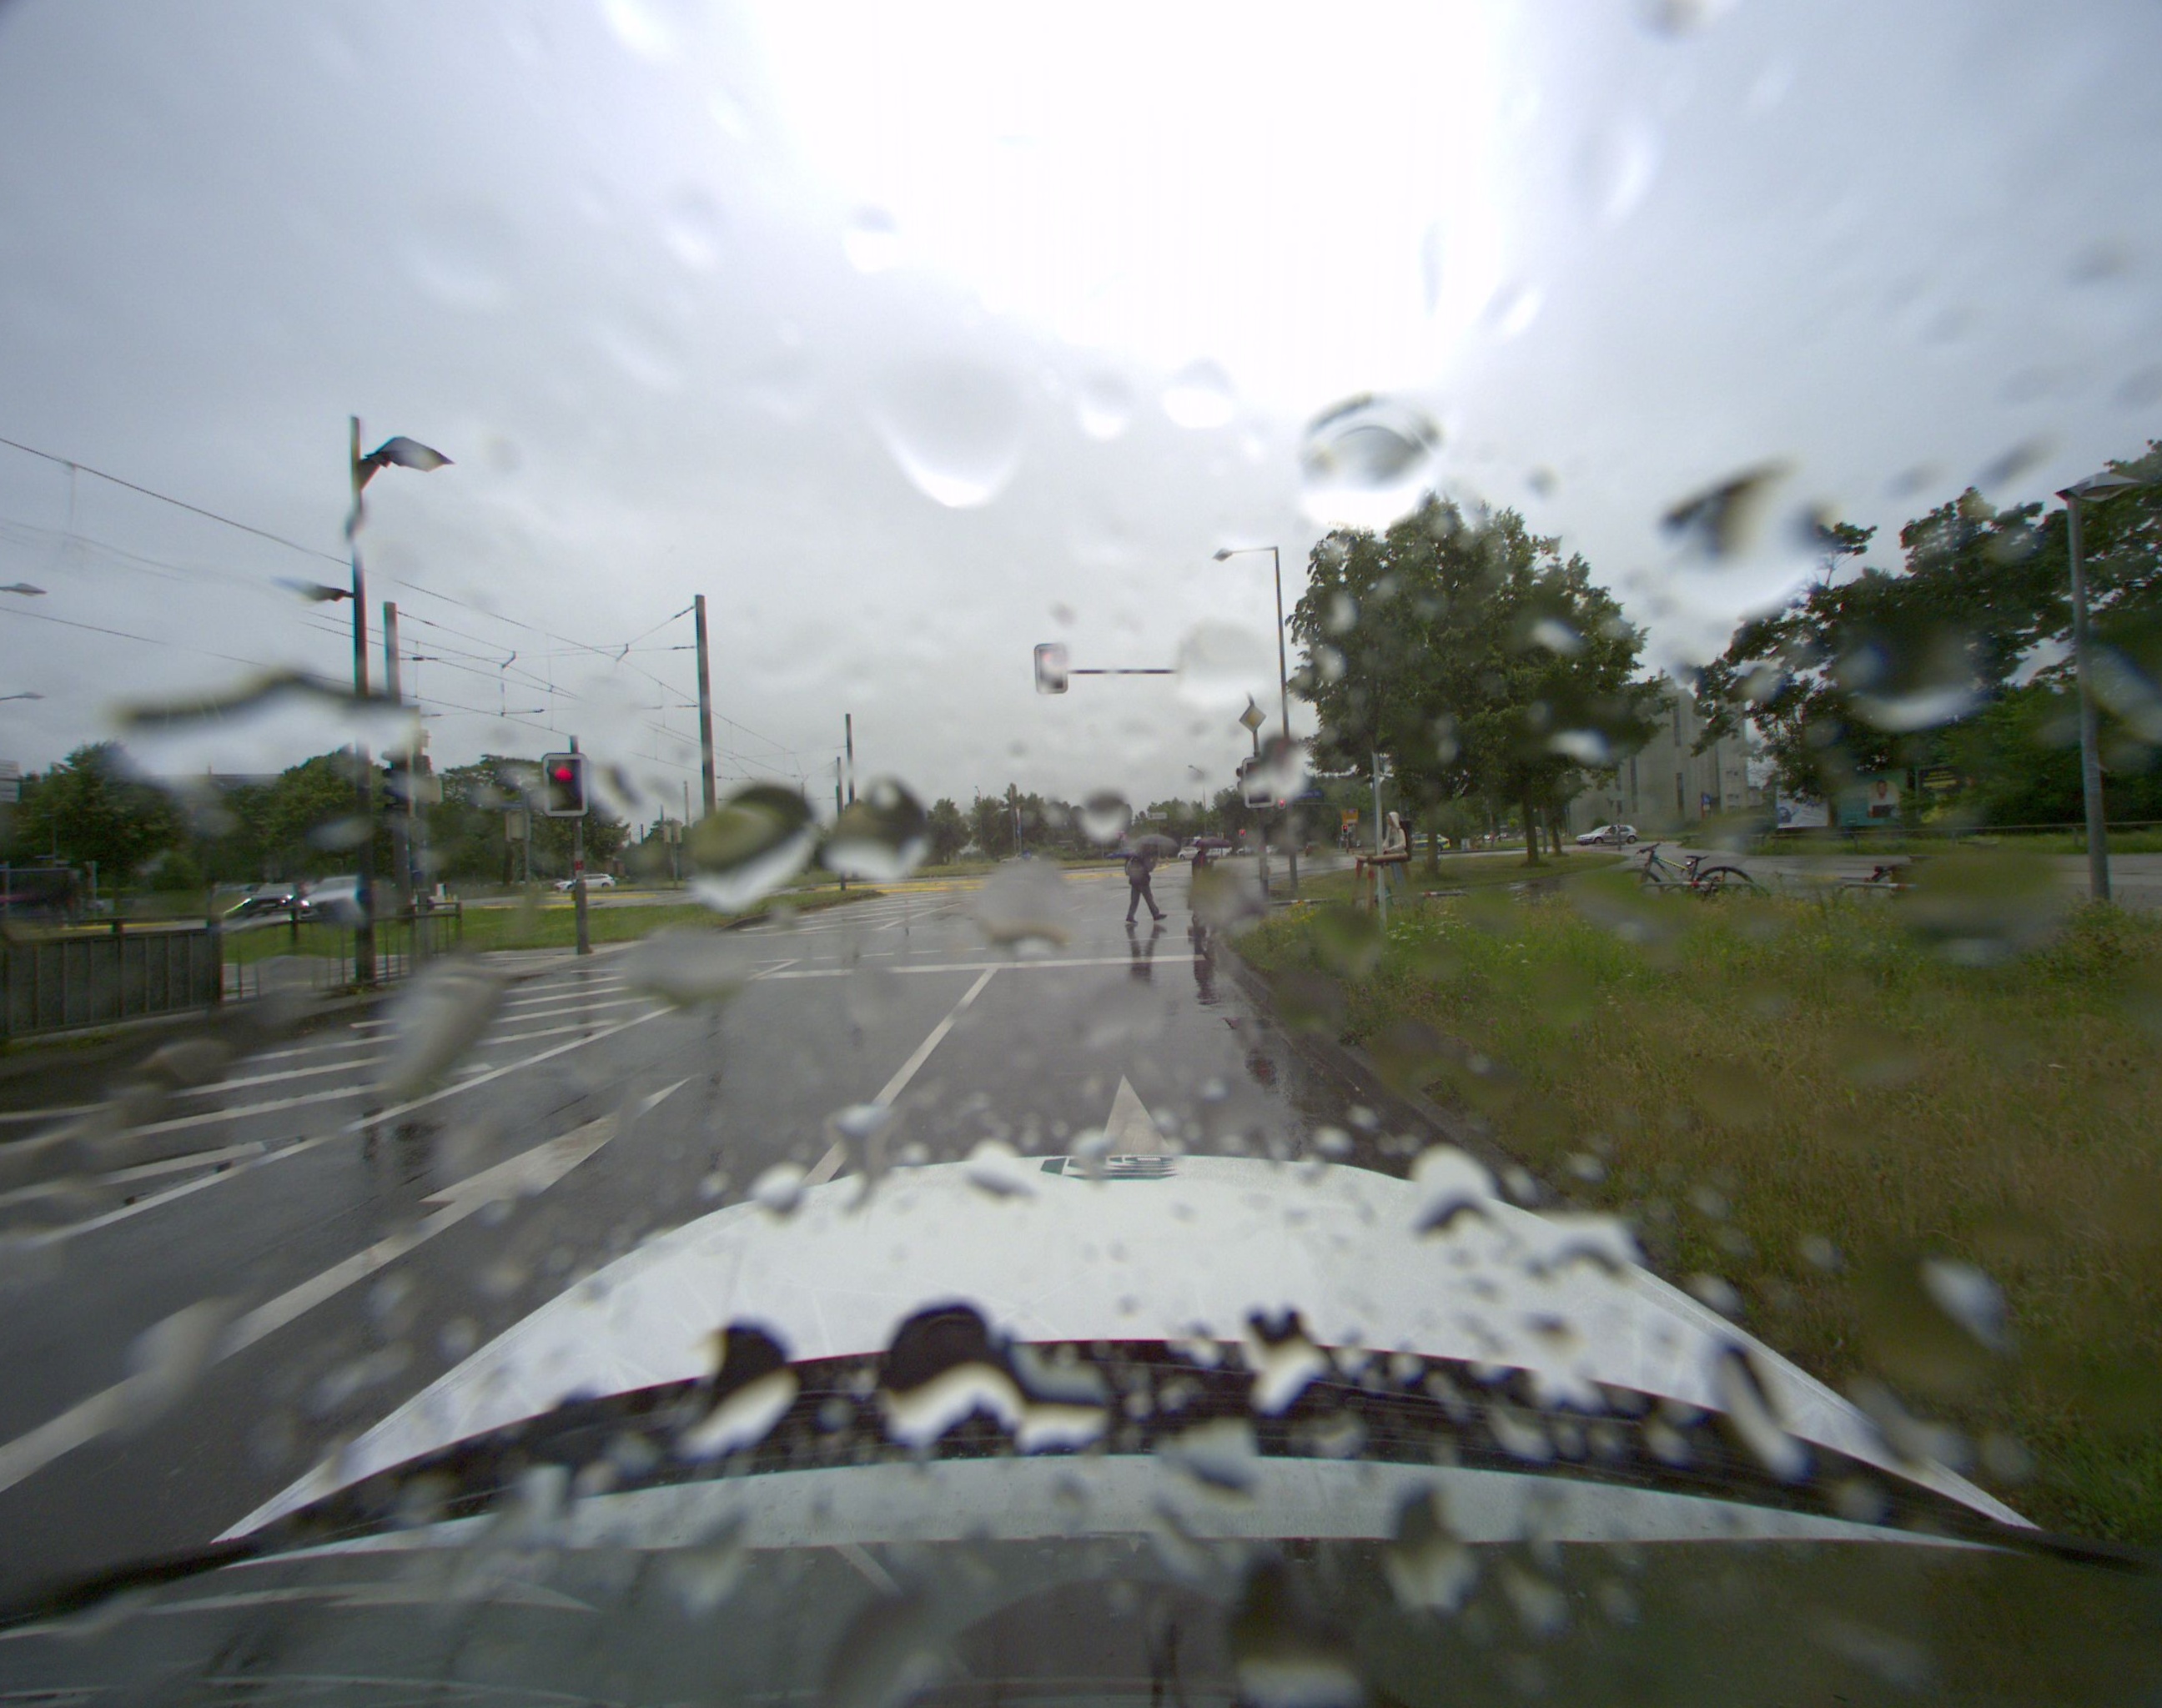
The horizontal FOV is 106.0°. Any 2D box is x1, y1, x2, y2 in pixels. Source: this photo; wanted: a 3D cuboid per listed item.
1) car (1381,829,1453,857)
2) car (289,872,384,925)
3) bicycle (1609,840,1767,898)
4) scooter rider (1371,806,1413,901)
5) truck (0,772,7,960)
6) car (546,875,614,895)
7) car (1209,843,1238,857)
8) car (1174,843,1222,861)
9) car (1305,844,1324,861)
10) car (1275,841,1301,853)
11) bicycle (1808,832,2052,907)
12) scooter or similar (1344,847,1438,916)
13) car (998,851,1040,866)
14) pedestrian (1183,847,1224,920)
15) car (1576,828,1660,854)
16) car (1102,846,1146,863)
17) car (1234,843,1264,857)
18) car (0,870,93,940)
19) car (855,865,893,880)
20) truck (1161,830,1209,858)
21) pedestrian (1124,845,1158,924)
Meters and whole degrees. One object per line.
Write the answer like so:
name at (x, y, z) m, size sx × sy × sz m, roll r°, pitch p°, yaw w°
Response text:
car at (24.661, -0.781, 59.978) m, size 4.723 × 1.851 × 2.009 m, roll -2°, pitch 0°, yaw 17°
car at (-26.325, 1.506, 28.937) m, size 2.009 × 1.627 × 4.354 m, roll -2°, pitch 0°, yaw -37°
bicycle at (8.799, 0.208, 11.894) m, size 0.382 × 0.787 × 1.840 m, roll 0°, pitch -1°, yaw -32°
scooter rider at (5.774, -0.007, 15.135) m, size 0.530 × 1.709 × 0.433 m, roll -3°, pitch 0°, yaw -4°
truck at (-23.082, 0.199, 11.819) m, size 2.678 × 3.778 × 9.182 m, roll 0°, pitch -1°, yaw 1°
car at (-42.436, 2.619, 69.060) m, size 1.602 × 1.454 × 4.653 m, roll -2°, pitch 0°, yaw 35°
car at (18.471, -0.484, 105.453) m, size 1.779 × 1.662 × 4.159 m, roll -1°, pitch -1°, yaw 43°
car at (10.146, -0.167, 70.842) m, size 1.633 × 1.454 × 3.938 m, roll -2°, pitch 0°, yaw -44°
car at (22.439, -0.171, 78.407) m, size 1.606 × 1.454 × 4.003 m, roll -2°, pitch 0°, yaw 14°
car at (30.450, -1.039, 119.535) m, size 1.779 × 1.662 × 4.437 m, roll -2°, pitch 0°, yaw 43°
bicycle at (9.772, 0.173, 9.500) m, size 0.453 × 0.787 × 1.999 m, roll 0°, pitch -1°, yaw -15°
scooter or similar at (5.750, 0.503, 15.138) m, size 1.582 × 1.259 × 0.447 m, roll 0°, pitch -1°, yaw -5°
car at (-6.594, 0.481, 86.176) m, size 4.068 × 1.454 × 1.630 m, roll -2°, pitch 0°, yaw 16°
pedestrian at (2.550, 0.605, 17.010) m, size 0.678 × 1.461 × 0.573 m, roll -3°, pitch -1°, yaw -3°
car at (38.827, -0.920, 59.006) m, size 4.741 × 1.851 × 2.001 m, roll 0°, pitch -1°, yaw 2°
car at (4.030, 0.069, 76.598) m, size 3.936 × 1.454 × 1.634 m, roll -2°, pitch 0°, yaw 38°
car at (21.531, -0.509, 104.430) m, size 1.779 × 1.662 × 4.436 m, roll -1°, pitch -1°, yaw 43°
car at (-63.026, 3.033, 44.574) m, size 11.018 × 3.720 × 2.429 m, roll -3°, pitch 0°, yaw -39°
car at (-23.296, 2.076, 91.712) m, size 3.975 × 1.454 × 1.618 m, roll -2°, pitch 0°, yaw -10°
truck at (10.516, -0.923, 81.918) m, size 2.439 × 2.686 × 8.105 m, roll -1°, pitch -1°, yaw 25°
pedestrian at (1.183, 0.588, 16.155) m, size 0.619 × 1.522 × 0.741 m, roll -1°, pitch 0°, yaw 0°
